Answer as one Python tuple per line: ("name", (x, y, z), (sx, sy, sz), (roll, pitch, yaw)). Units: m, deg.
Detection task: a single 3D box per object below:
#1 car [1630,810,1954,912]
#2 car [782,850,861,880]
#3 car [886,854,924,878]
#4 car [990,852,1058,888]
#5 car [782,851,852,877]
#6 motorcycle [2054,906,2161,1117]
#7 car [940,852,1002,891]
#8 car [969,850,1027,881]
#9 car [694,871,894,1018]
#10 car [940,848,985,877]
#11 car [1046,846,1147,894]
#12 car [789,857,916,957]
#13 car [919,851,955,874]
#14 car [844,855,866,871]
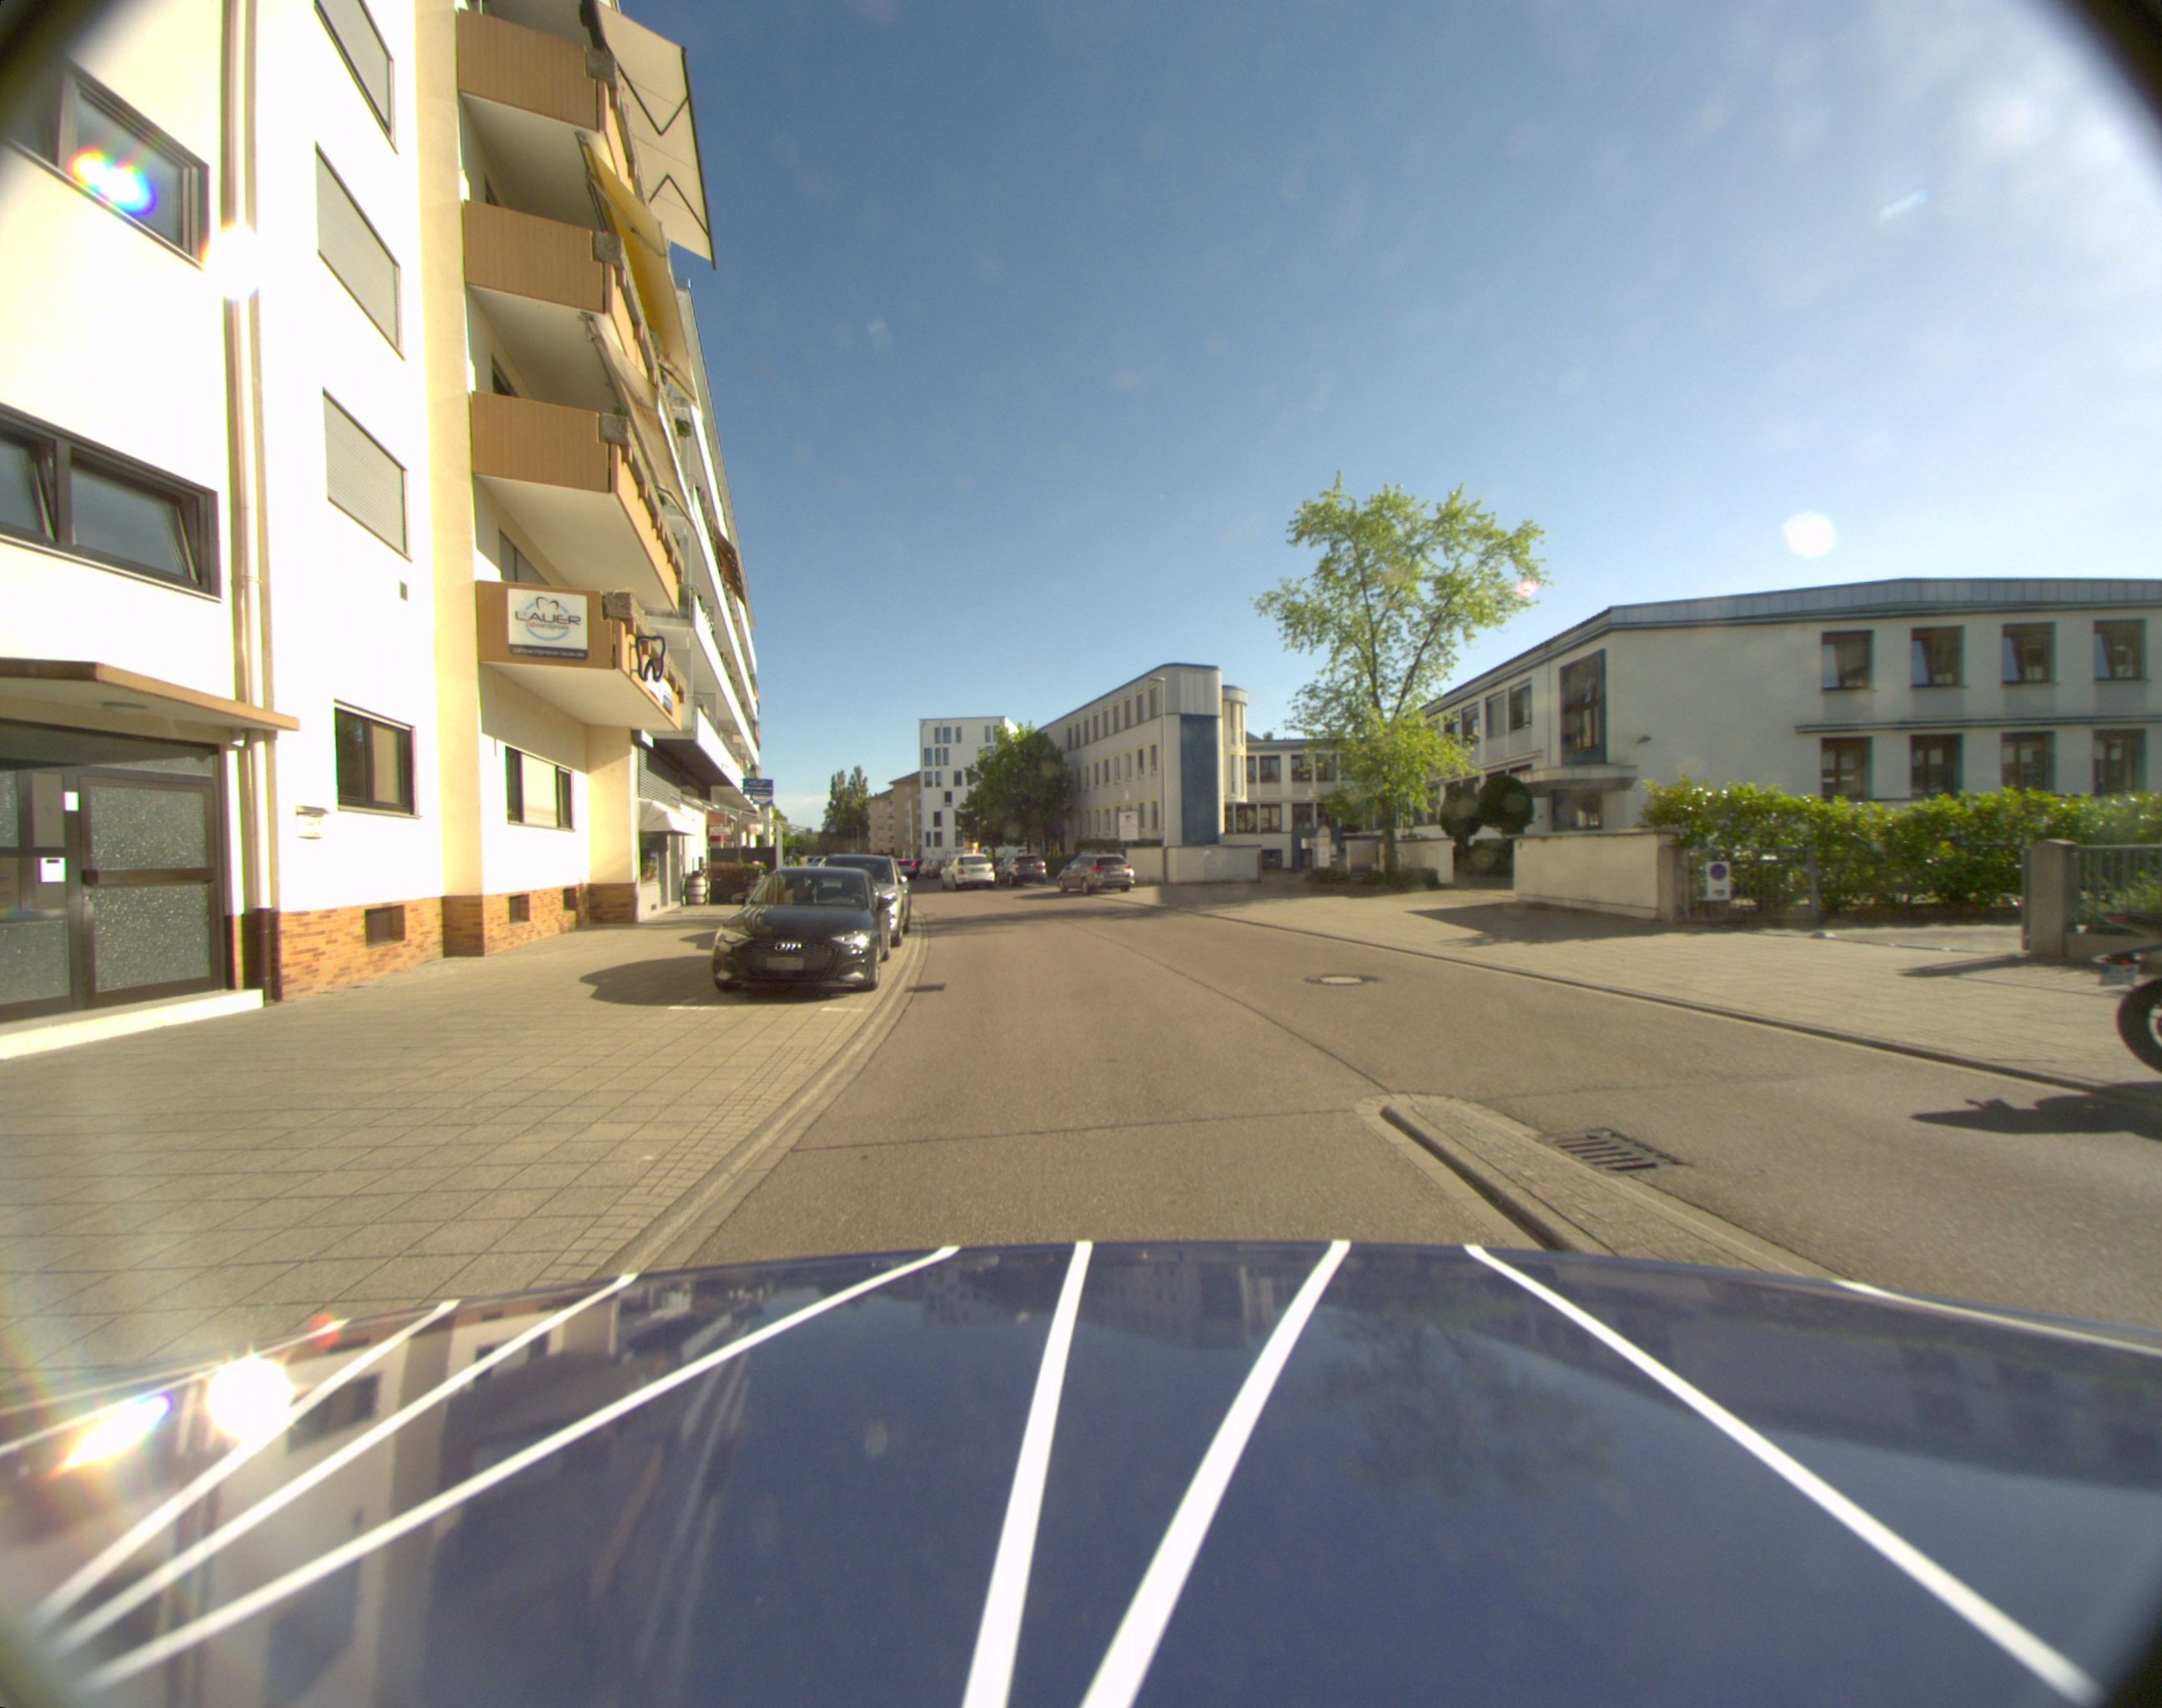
("car", (12.792, 0.116, 13.917), (3.996, 1.706, 2.000), (-1, 1, 2))
("car", (-17.571, 0.729, 51.709), (2.134, 1.726, 4.843), (-2, 1, 28))
("car", (-13.623, 0.891, 58.601), (2.141, 1.726, 4.827), (-3, 1, -20))
("car", (-2.999, 0.753, 38.940), (2.141, 1.604, 4.827), (-3, 1, -21))
("car", (-20.247, 0.755, 58.454), (2.134, 1.726, 4.843), (-2, 1, 28))
("motorcycle", (6.775, 0.834, 4.012), (1.959, 1.089, 0.591), (-2, 0, 22))
("car", (-5.569, 0.811, 37.961), (2.141, 1.726, 4.827), (-3, 1, -19))
("car", (-4.867, 0.646, 44.059), (2.141, 1.604, 4.827), (-3, 1, -21))
("car", (-3.425, 0.992, 9.810), (1.759, 1.386, 3.995), (2, 0, -12))
("car", (-8.469, 0.575, 54.008), (2.141, 1.800, 4.827), (-3, 1, -21))
("car", (0.473, 0.561, 29.676), (2.141, 1.604, 4.826), (-3, 1, -22))
("car", (-4.211, 0.897, 14.597), (1.759, 1.604, 3.996), (2, 0, -9))
("car", (-12.051, 0.690, 63.359), (2.141, 1.800, 4.827), (-3, 1, -21))
("car", (-26.848, 1.047, 90.207), (2.141, 1.726, 4.827), (-3, 1, -20))
